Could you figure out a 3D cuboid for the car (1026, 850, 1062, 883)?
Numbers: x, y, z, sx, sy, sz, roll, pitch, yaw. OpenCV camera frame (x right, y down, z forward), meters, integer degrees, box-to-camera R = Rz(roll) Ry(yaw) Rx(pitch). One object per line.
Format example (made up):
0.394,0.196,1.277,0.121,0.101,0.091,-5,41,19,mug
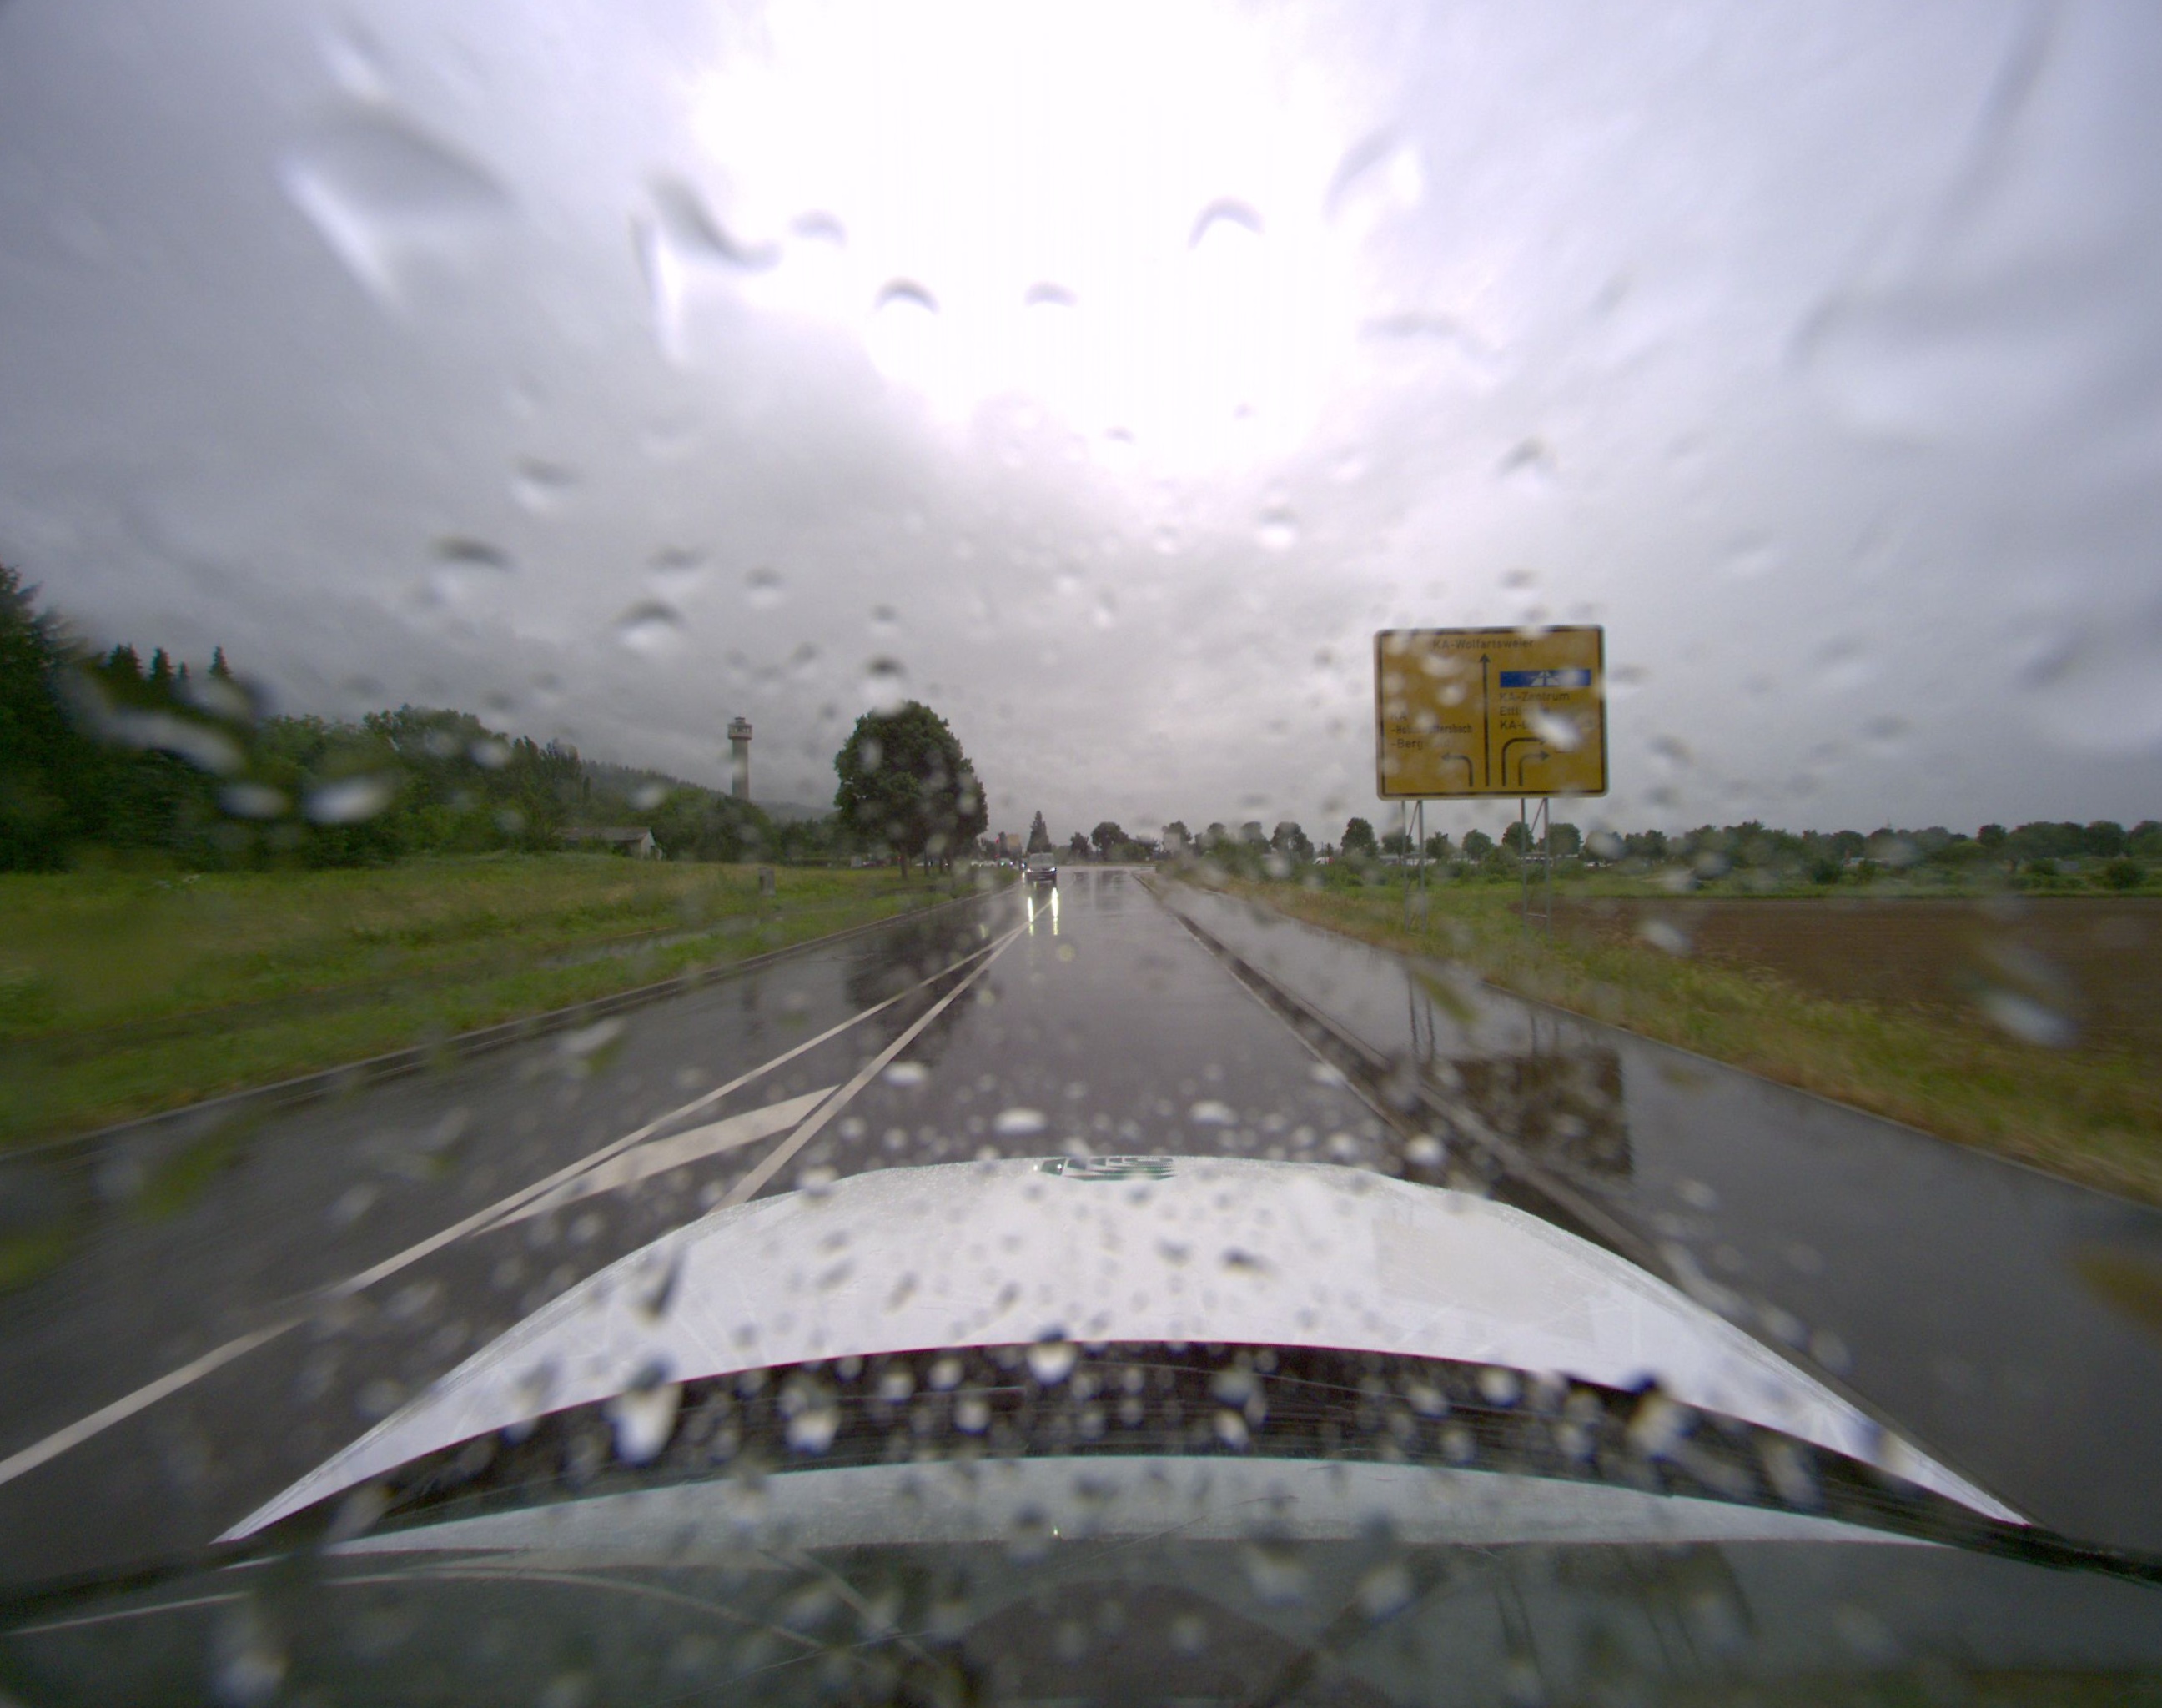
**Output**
-2.383,0.791,53.403,1.987,1.972,4.957,-3,0,1,car

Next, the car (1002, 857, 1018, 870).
-11.245,1.490,128.698,1.996,2.014,3.982,1,0,-13,car

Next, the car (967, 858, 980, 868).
-22.207,1.788,168.259,1.998,2.013,3.976,1,0,-17,car

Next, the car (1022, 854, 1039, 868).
-6.420,0.879,103.619,1.903,1.721,3.992,-4,0,-6,car
